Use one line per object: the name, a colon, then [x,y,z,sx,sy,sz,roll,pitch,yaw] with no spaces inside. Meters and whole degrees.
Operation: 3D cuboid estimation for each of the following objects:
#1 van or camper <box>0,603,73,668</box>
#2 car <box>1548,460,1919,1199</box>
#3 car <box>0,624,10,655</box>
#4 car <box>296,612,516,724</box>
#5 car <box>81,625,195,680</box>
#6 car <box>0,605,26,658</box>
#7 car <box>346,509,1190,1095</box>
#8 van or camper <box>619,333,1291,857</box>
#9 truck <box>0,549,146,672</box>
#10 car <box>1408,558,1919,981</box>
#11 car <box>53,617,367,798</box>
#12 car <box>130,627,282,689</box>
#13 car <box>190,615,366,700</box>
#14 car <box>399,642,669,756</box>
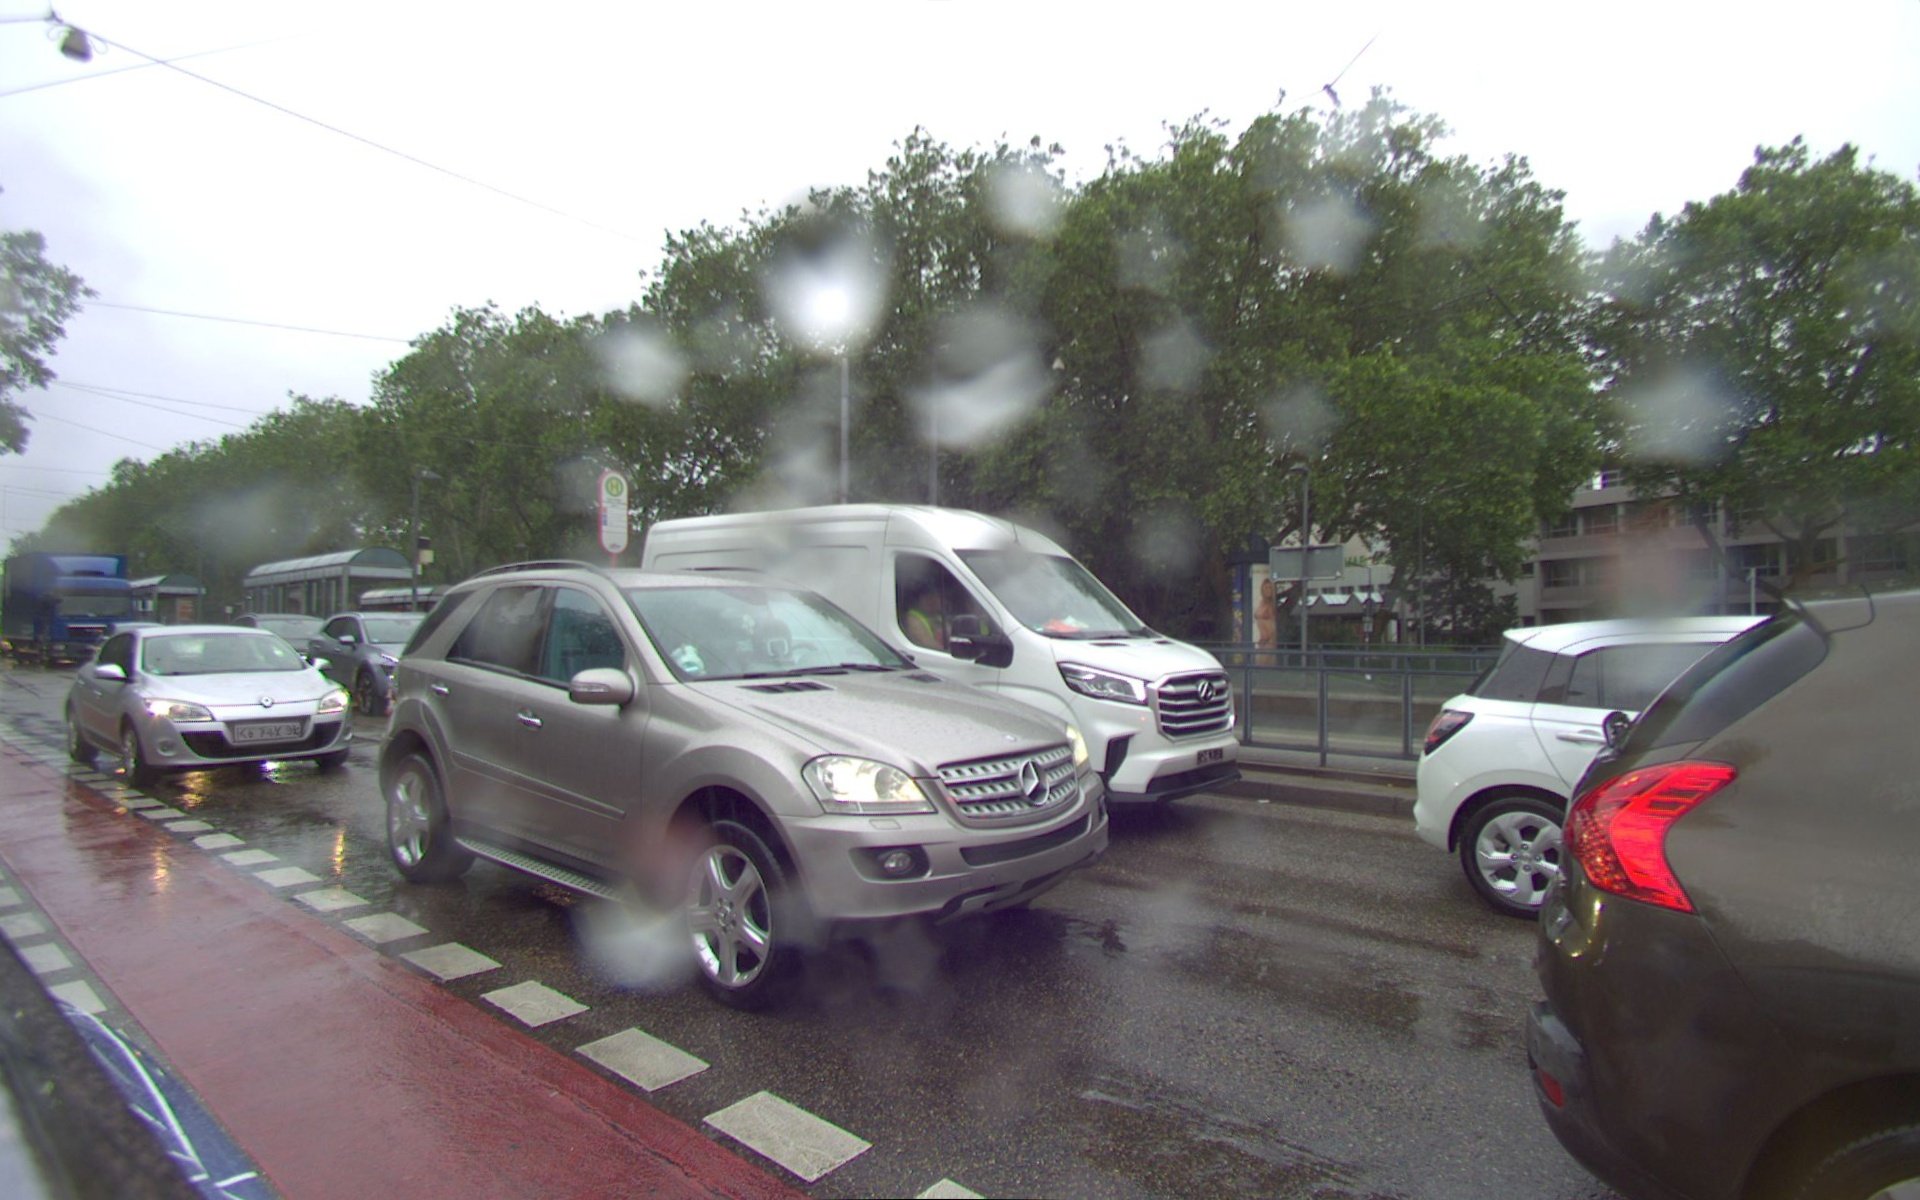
van or camper: [-40.047,1.473,43.542,6.427,2.590,1.973,-1,0,41]
car: [3.285,0.597,1.234,4.170,1.681,1.815,-1,-1,41]
car: [-52.357,2.101,54.061,3.998,1.589,1.973,-1,-1,41]
car: [-9.406,1.062,17.035,4.454,1.636,1.894,-1,-2,43]
car: [-24.497,1.508,30.132,4.074,1.498,1.871,-1,-2,40]
car: [-46.784,1.527,48.909,5.727,2.445,1.972,-1,0,43]
car: [-1.294,0.649,5.310,4.459,1.783,2.004,-1,-1,40]
van or camper: [-0.380,0.030,8.817,5.846,3.166,2.136,-1,-2,40]
truck: [-32.210,0.459,36.385,9.803,3.919,2.513,-1,-3,40]
car: [4.275,0.672,4.540,3.834,1.641,1.628,-1,-2,41]
car: [-7.835,0.942,10.440,3.998,1.489,1.750,-1,-1,40]
car: [-18.832,1.389,25.200,4.602,1.405,1.973,-1,-3,40]
car: [-14.650,1.170,21.675,4.316,1.633,1.974,-1,-2,40]
car: [-5.451,1.137,12.708,4.084,1.126,1.448,-1,-1,40]
